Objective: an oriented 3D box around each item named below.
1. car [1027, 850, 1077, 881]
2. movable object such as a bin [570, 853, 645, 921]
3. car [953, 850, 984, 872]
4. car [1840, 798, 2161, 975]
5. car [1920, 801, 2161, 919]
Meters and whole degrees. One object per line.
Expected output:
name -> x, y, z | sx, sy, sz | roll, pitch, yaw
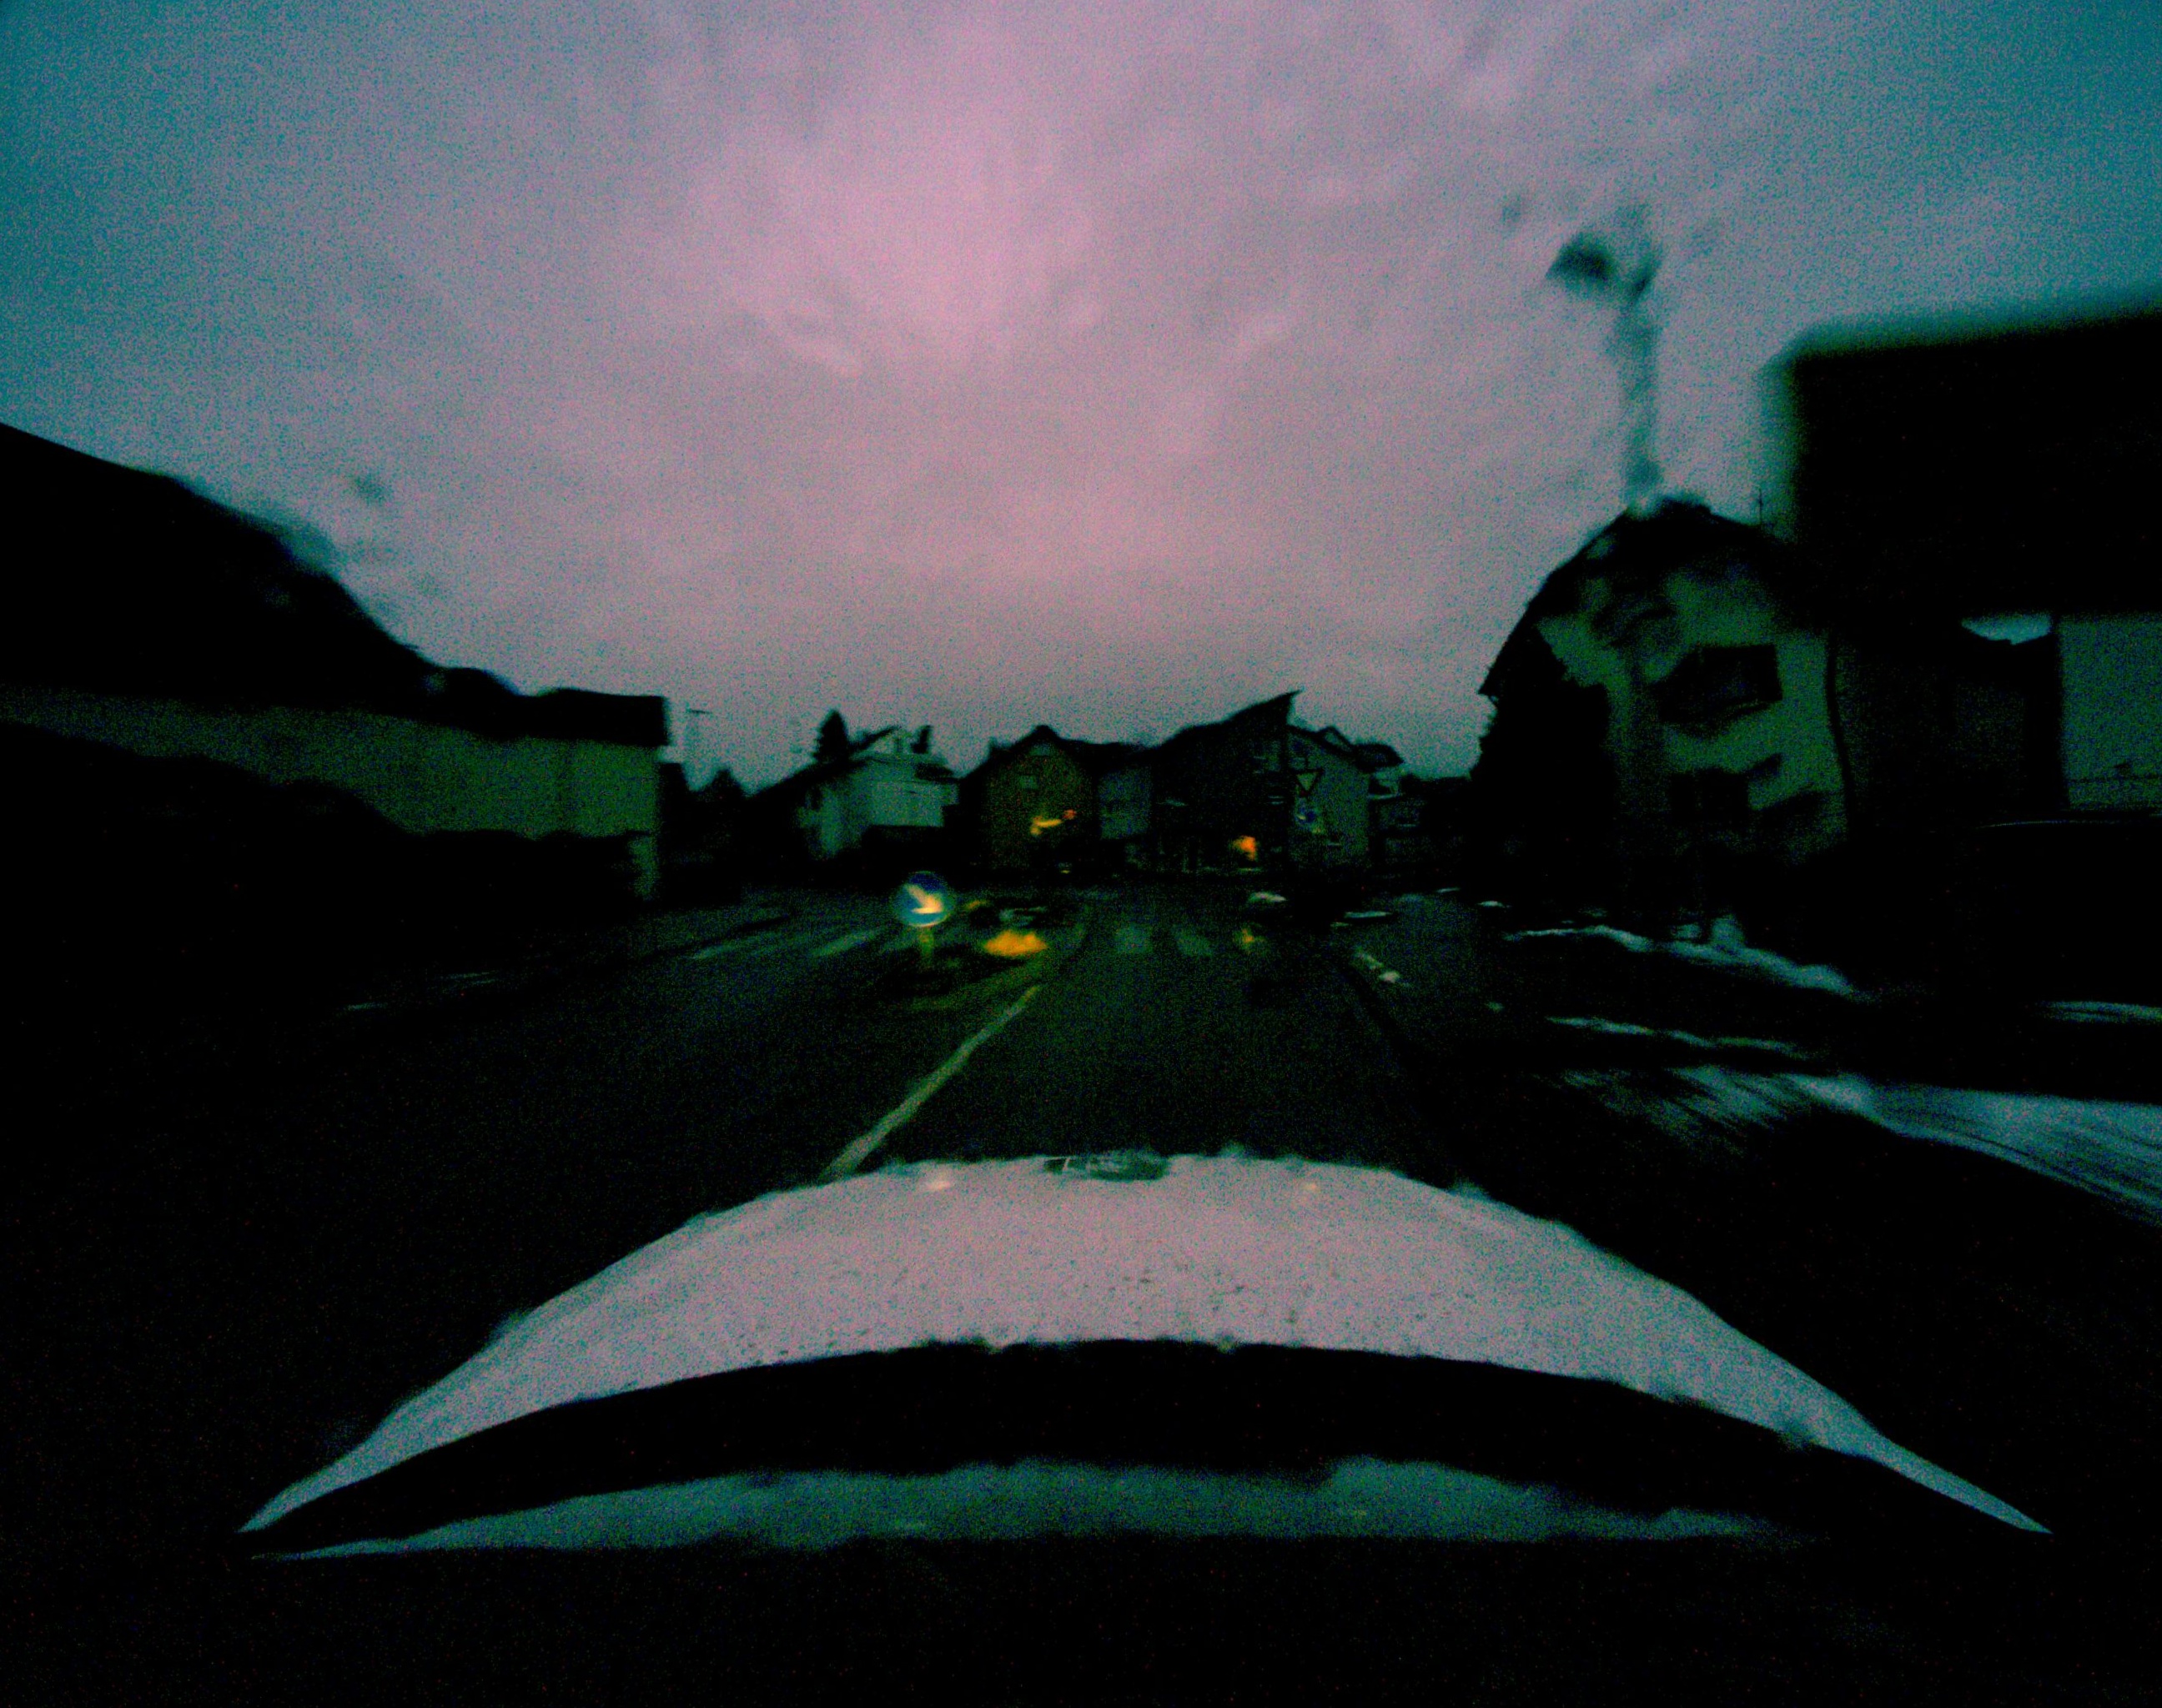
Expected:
car -> -1.688, 0.599, 45.715 | 1.996, 1.644, 3.981 | -1, 1, -14
movable object such as a bin -> -11.361, 0.771, 19.586 | 1.094, 1.543, 1.286 | -1, 0, -6
car -> -8.918, 0.531, 64.454 | 1.996, 1.644, 3.981 | -1, 1, -14
car -> 10.874, 0.265, 8.082 | 1.821, 1.628, 4.507 | -4, 0, -30
car -> 15.265, 0.051, 11.797 | 1.821, 1.566, 3.961 | -4, 0, -30
